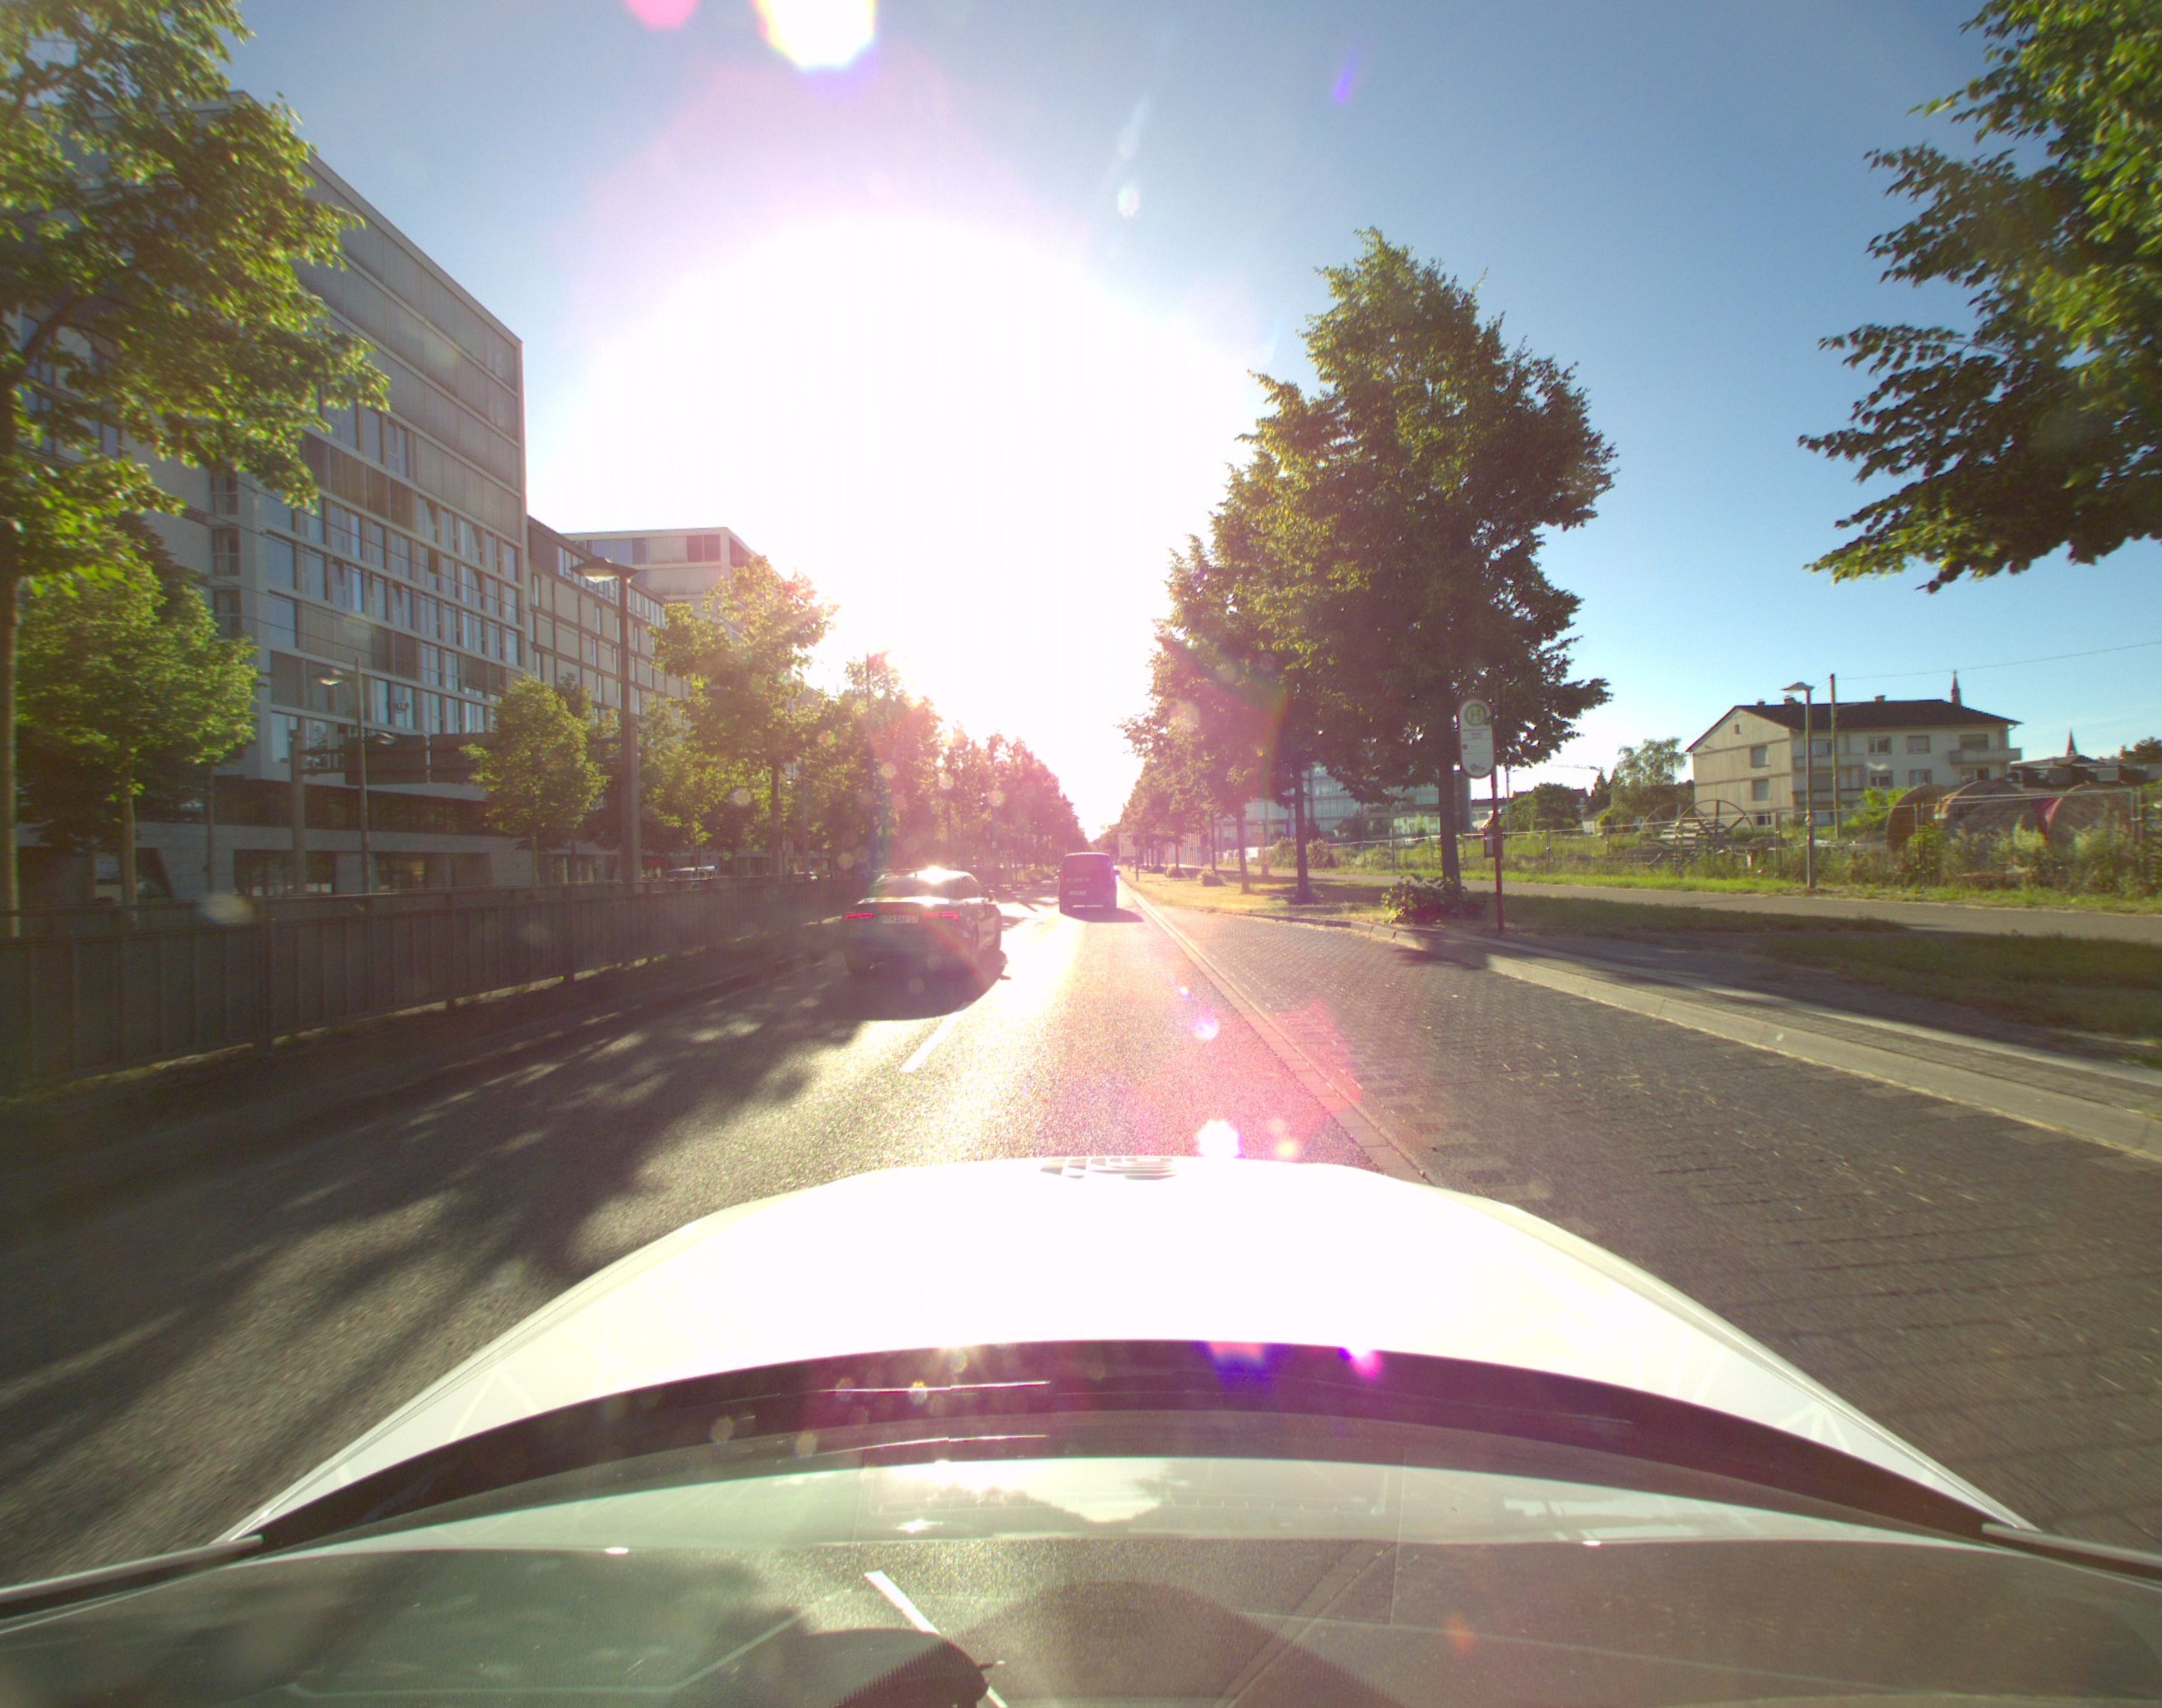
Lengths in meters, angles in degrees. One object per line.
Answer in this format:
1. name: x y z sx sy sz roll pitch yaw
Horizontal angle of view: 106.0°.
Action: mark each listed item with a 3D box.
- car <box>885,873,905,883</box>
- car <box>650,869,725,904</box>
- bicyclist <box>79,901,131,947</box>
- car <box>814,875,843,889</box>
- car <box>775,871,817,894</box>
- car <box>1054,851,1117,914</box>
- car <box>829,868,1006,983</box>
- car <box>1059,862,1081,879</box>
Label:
1. car: -27.823 3.551 121.999 1.709 1.420 4.546 -2 -1 2
2. car: -22.057 1.781 45.838 1.986 1.750 4.228 -3 -1 1
3. bicyclist: -32.797 2.350 27.372 0.717 1.463 0.832 -2 -1 3
4. car: -29.099 3.251 93.930 1.662 1.420 4.805 -2 -1 1
5. car: -21.255 2.105 60.850 1.673 1.520 3.701 -2 -1 1
6. car: 0.126 0.871 25.940 1.792 1.777 3.999 -2 -1 0
7. car: -2.262 0.940 12.353 1.714 1.366 4.147 -1 0 2
8. car: -0.991 1.524 76.276 1.936 1.441 3.998 -3 -1 -1
